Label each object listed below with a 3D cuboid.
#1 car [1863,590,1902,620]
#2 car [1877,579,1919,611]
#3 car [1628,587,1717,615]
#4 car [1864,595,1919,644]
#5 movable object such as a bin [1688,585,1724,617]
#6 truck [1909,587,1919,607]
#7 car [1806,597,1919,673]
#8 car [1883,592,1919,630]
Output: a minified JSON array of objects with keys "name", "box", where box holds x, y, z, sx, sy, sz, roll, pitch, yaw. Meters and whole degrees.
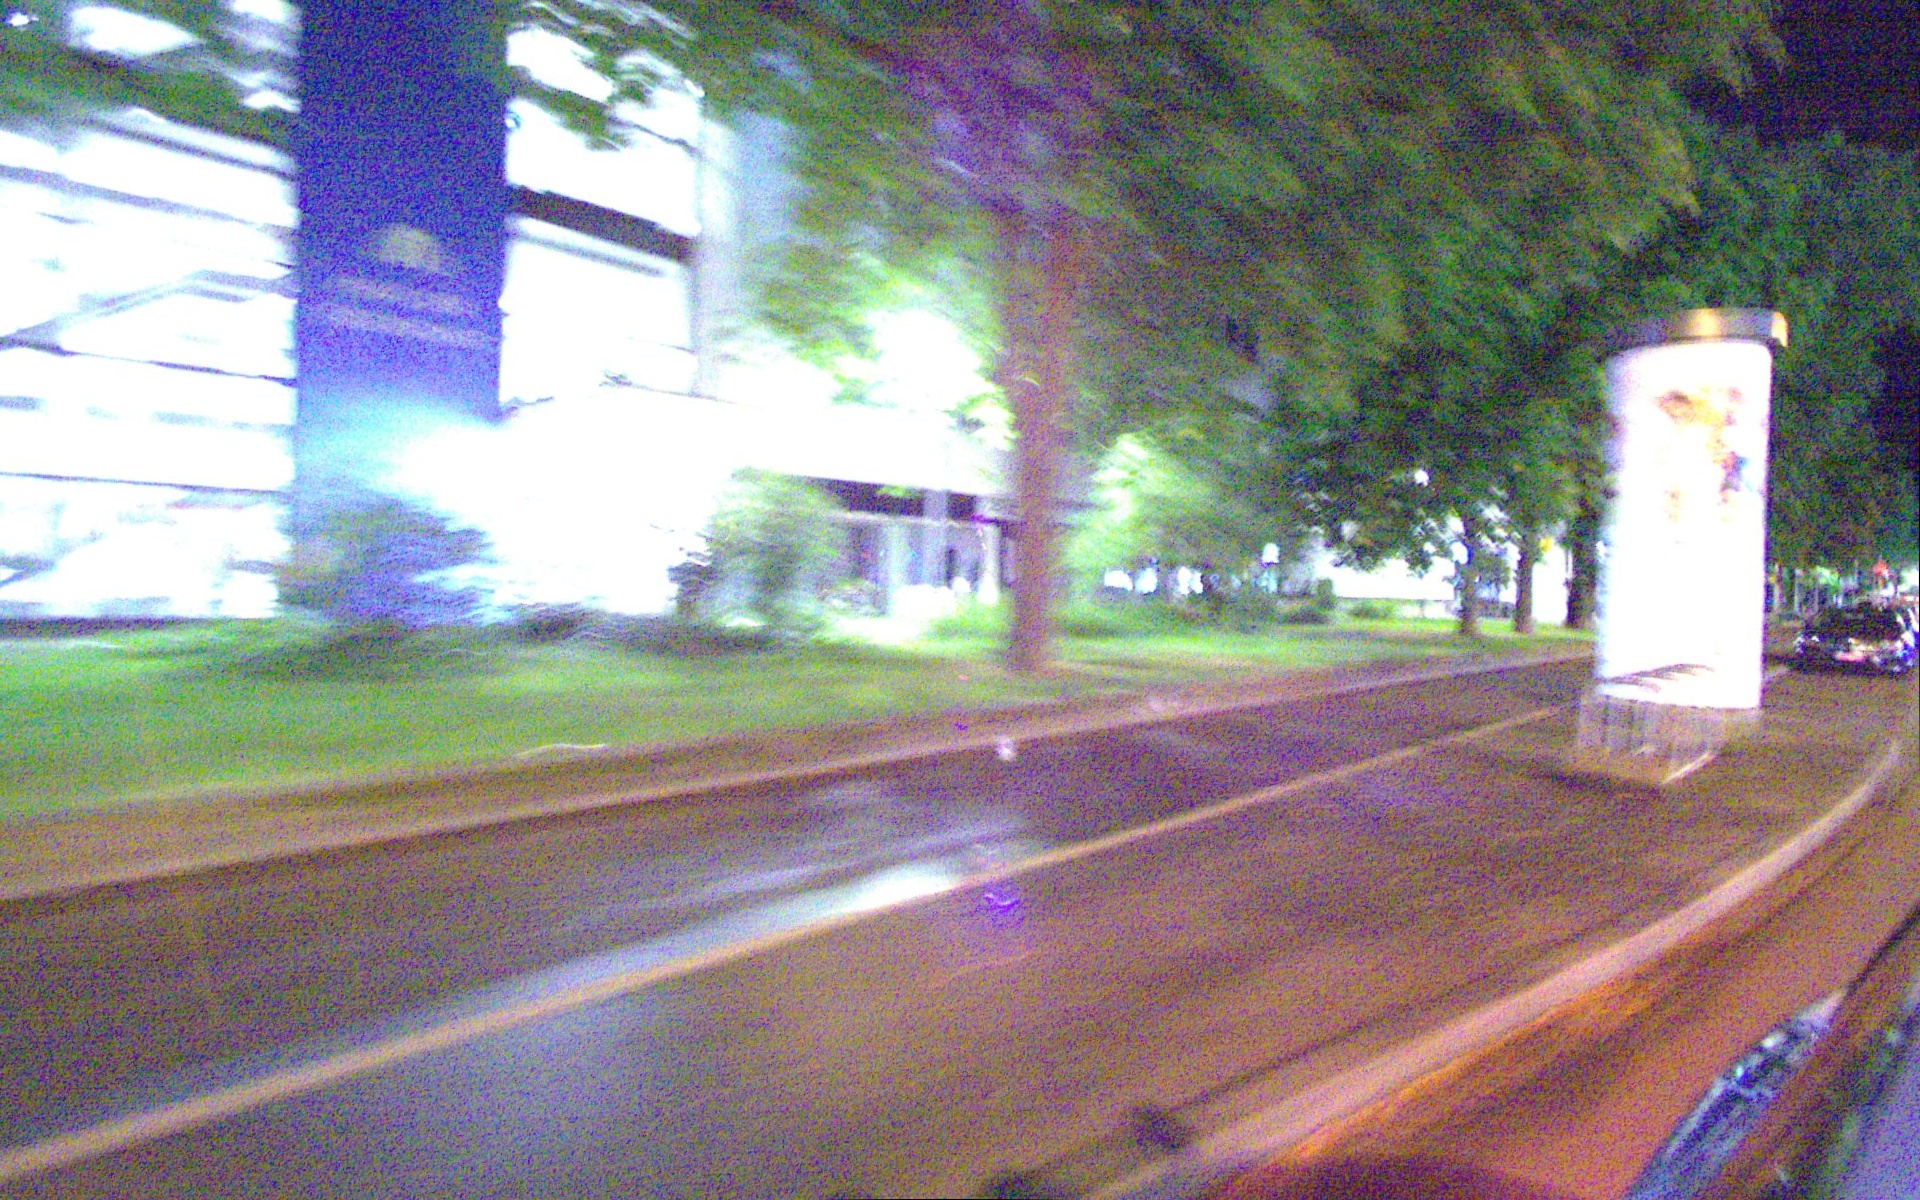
[{"name":"car","box":[60.497,0.301,66.328,1.789,1.844,4.507,3,2,43]},{"name":"car","box":[73.387,-0.372,79.040,2.130,2.355,5.082,3,2,37]},{"name":"car","box":[44.632,0.043,63.416,4.317,1.550,1.775,3,3,44]},{"name":"car","box":[33.150,0.657,35.637,1.691,1.555,3.950,3,2,45]},{"name":"movable object such as a bin","box":[33.059,0.035,44.834,1.160,1.388,0.978,1,1,44]},{"name":"truck","box":[116.388,-0.336,122.095,6.177,2.271,2.109,0,2,-41]},{"name":"car","box":[20.071,0.687,22.272,4.729,1.432,1.765,0,2,-45]},{"name":"car","box":[42.730,0.494,45.366,1.772,1.555,4.148,5,4,45]}]
